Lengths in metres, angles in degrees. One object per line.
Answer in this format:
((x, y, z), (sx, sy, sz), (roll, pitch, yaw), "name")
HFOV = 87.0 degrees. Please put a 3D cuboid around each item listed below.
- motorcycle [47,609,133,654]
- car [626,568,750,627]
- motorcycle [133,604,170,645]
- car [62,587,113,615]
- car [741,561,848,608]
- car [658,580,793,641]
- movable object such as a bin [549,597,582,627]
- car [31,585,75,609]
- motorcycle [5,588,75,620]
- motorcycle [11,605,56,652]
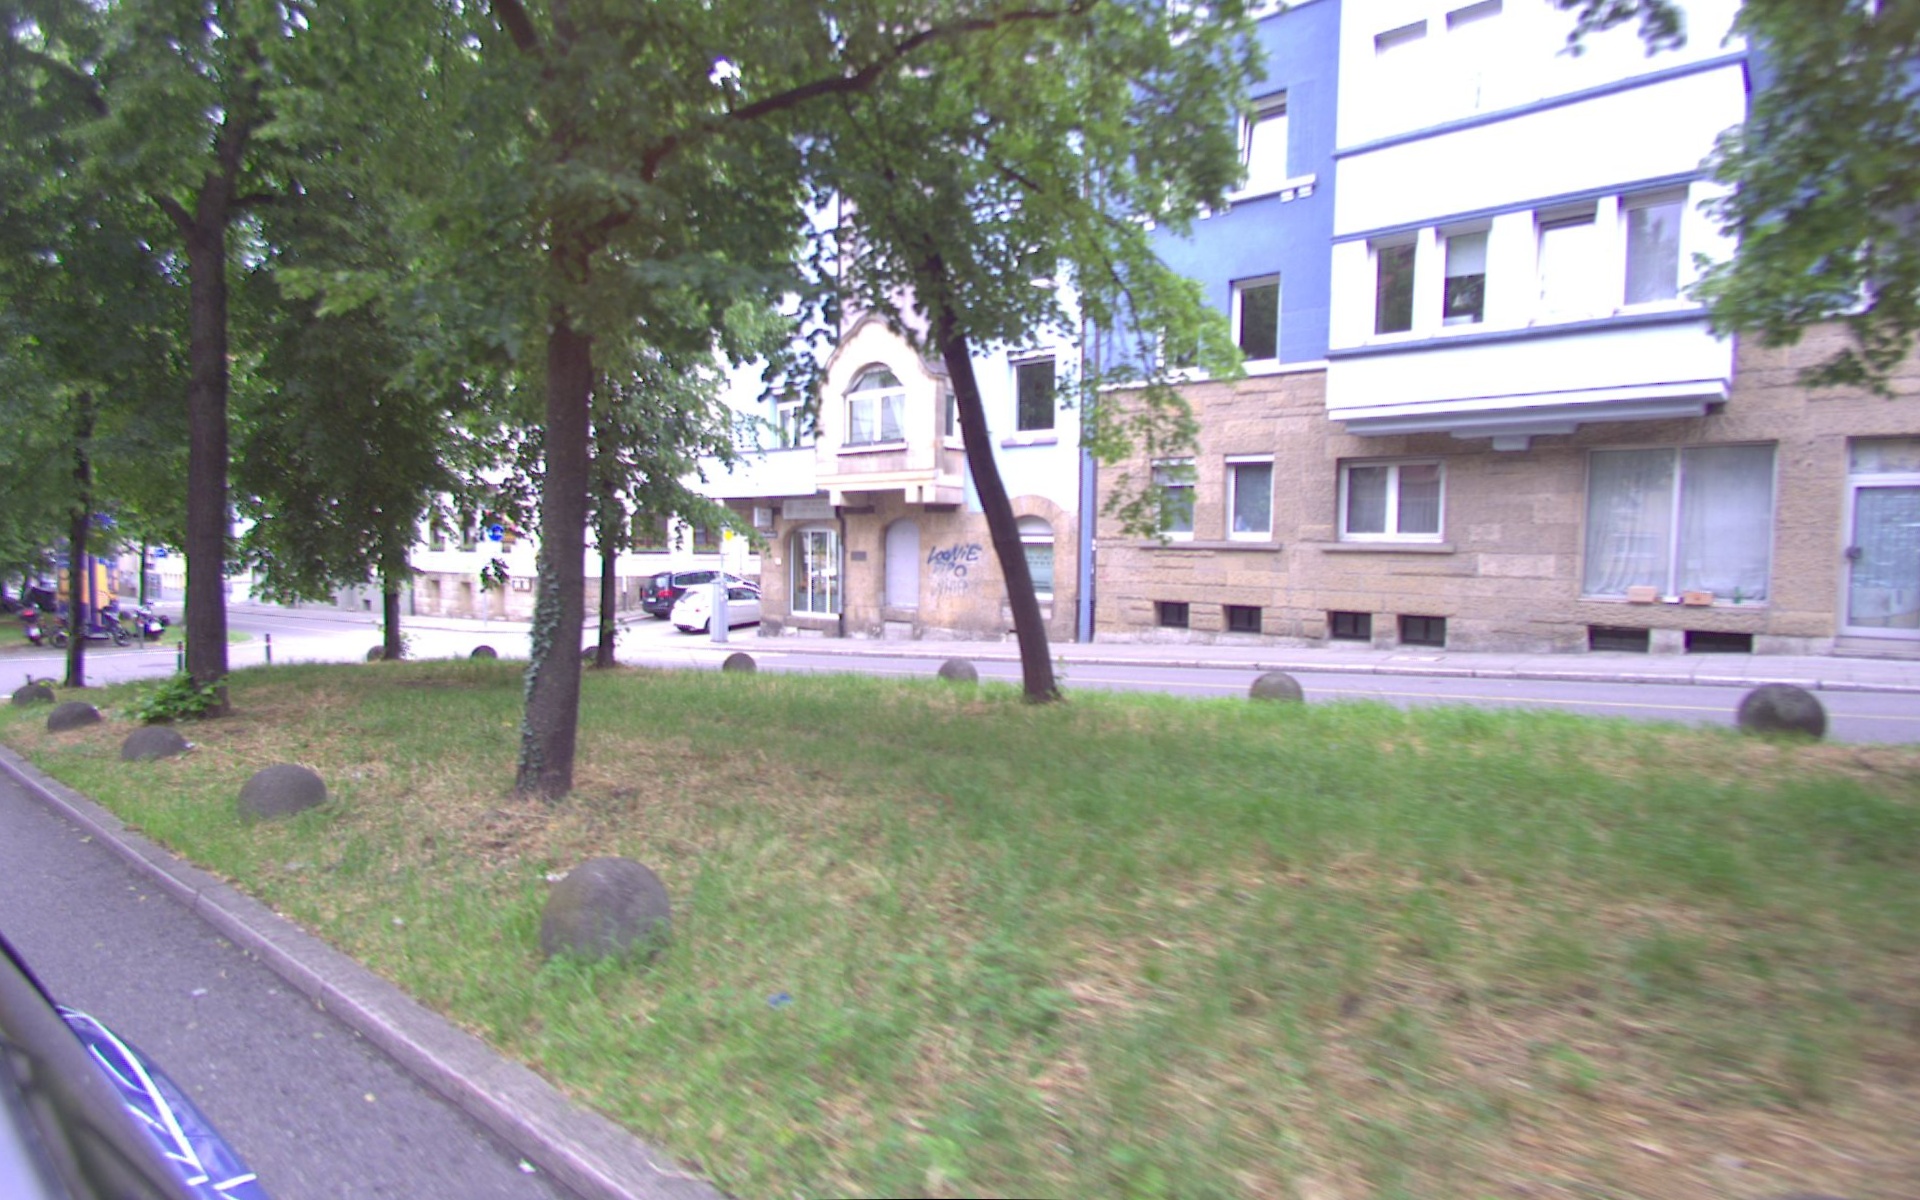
((-23.867, 0.837, 27.781), (0.551, 1.104, 1.712), (3, 4, 44), "motorcycle")
((-9.986, -0.164, 37.378), (1.871, 1.711, 3.957), (1, 7, 41), "car")
((-24.015, 0.704, 30.058), (0.740, 1.081, 1.854), (-2, 4, -42), "motorcycle")
((-53.207, 0.048, 61.706), (4.415, 1.575, 1.794), (0, 1, 42), "car")
((-6.729, -0.687, 41.487), (1.801, 1.521, 3.944), (2, 8, 44), "car")
((-7.605, 0.285, 33.133), (1.869, 1.480, 3.961), (3, 7, 38), "car")
((-14.353, 0.422, 36.813), (0.667, 1.000, 0.877), (1, 4, 39), "movable object such as a bin")
((-63.016, -0.214, 70.296), (4.253, 1.575, 1.794), (0, 1, 42), "car")
((-44.357, 0.186, 48.813), (0.963, 1.494, 2.393), (3, 3, 41), "motorcycle")
((-25.778, 0.757, 28.185), (0.876, 1.104, 2.484), (-2, 4, -42), "motorcycle")
